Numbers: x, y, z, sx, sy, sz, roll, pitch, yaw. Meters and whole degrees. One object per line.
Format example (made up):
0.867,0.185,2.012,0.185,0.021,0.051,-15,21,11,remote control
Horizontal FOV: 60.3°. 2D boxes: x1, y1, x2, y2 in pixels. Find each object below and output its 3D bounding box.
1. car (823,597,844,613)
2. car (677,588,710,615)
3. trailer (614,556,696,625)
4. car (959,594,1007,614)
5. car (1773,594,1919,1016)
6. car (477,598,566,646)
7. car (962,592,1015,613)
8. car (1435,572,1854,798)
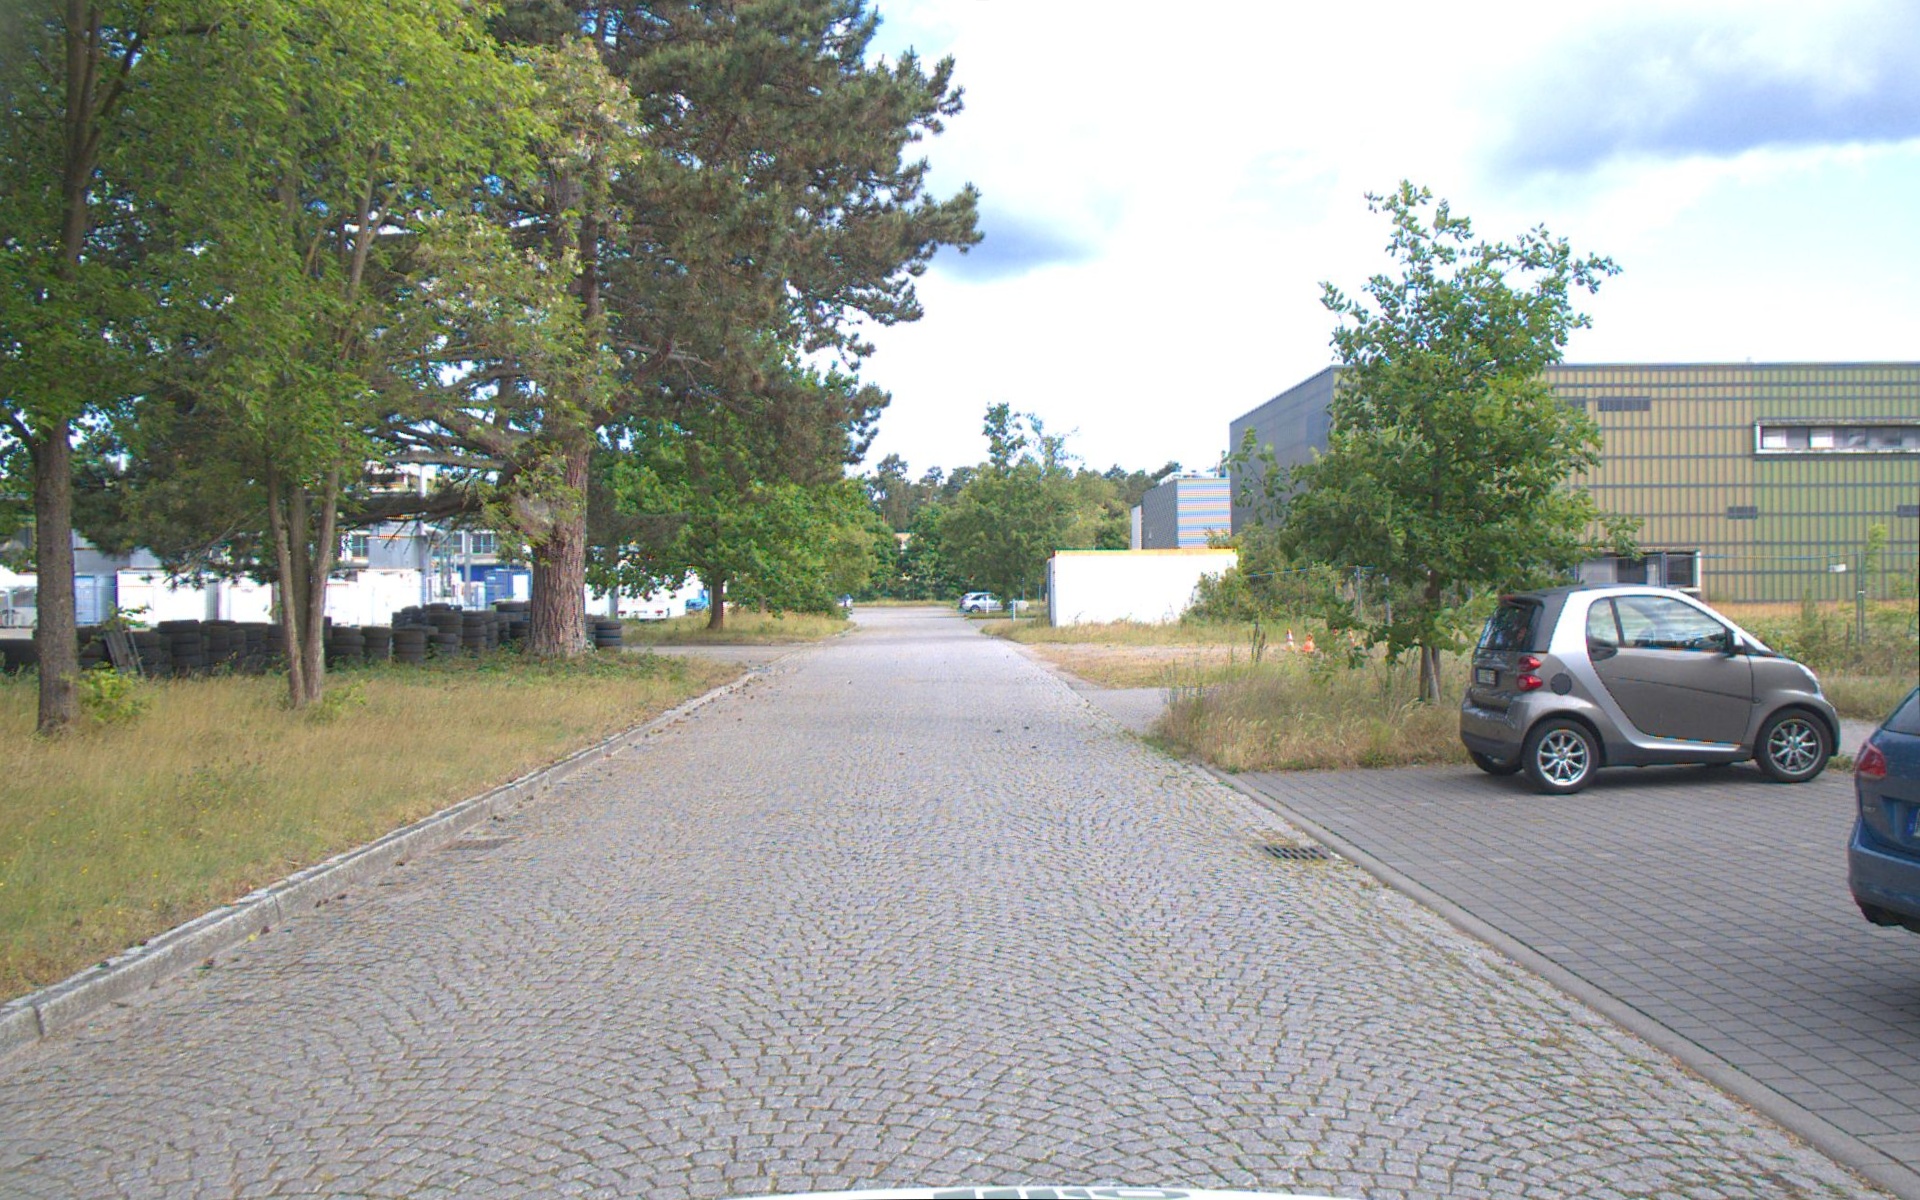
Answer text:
-10.988,0.399,144.326,1.614,1.393,3.997,0,0,-1,car
-21.239,0.106,132.005,1.953,2.049,4.766,0,0,-1,car
-16.876,-0.511,92.227,2.571,3.661,10.178,0,0,1,trailer
1.683,0.291,123.123,3.451,1.386,1.622,-3,0,-1,car
5.637,0.673,6.091,4.402,1.501,1.829,-2,0,-4,car
-14.363,0.691,54.365,1.591,1.458,4.066,-1,1,4,car
2.147,0.185,125.830,3.904,1.473,1.653,-3,0,-1,car
5.453,0.641,13.420,2.655,1.583,1.653,-3,0,-1,car
